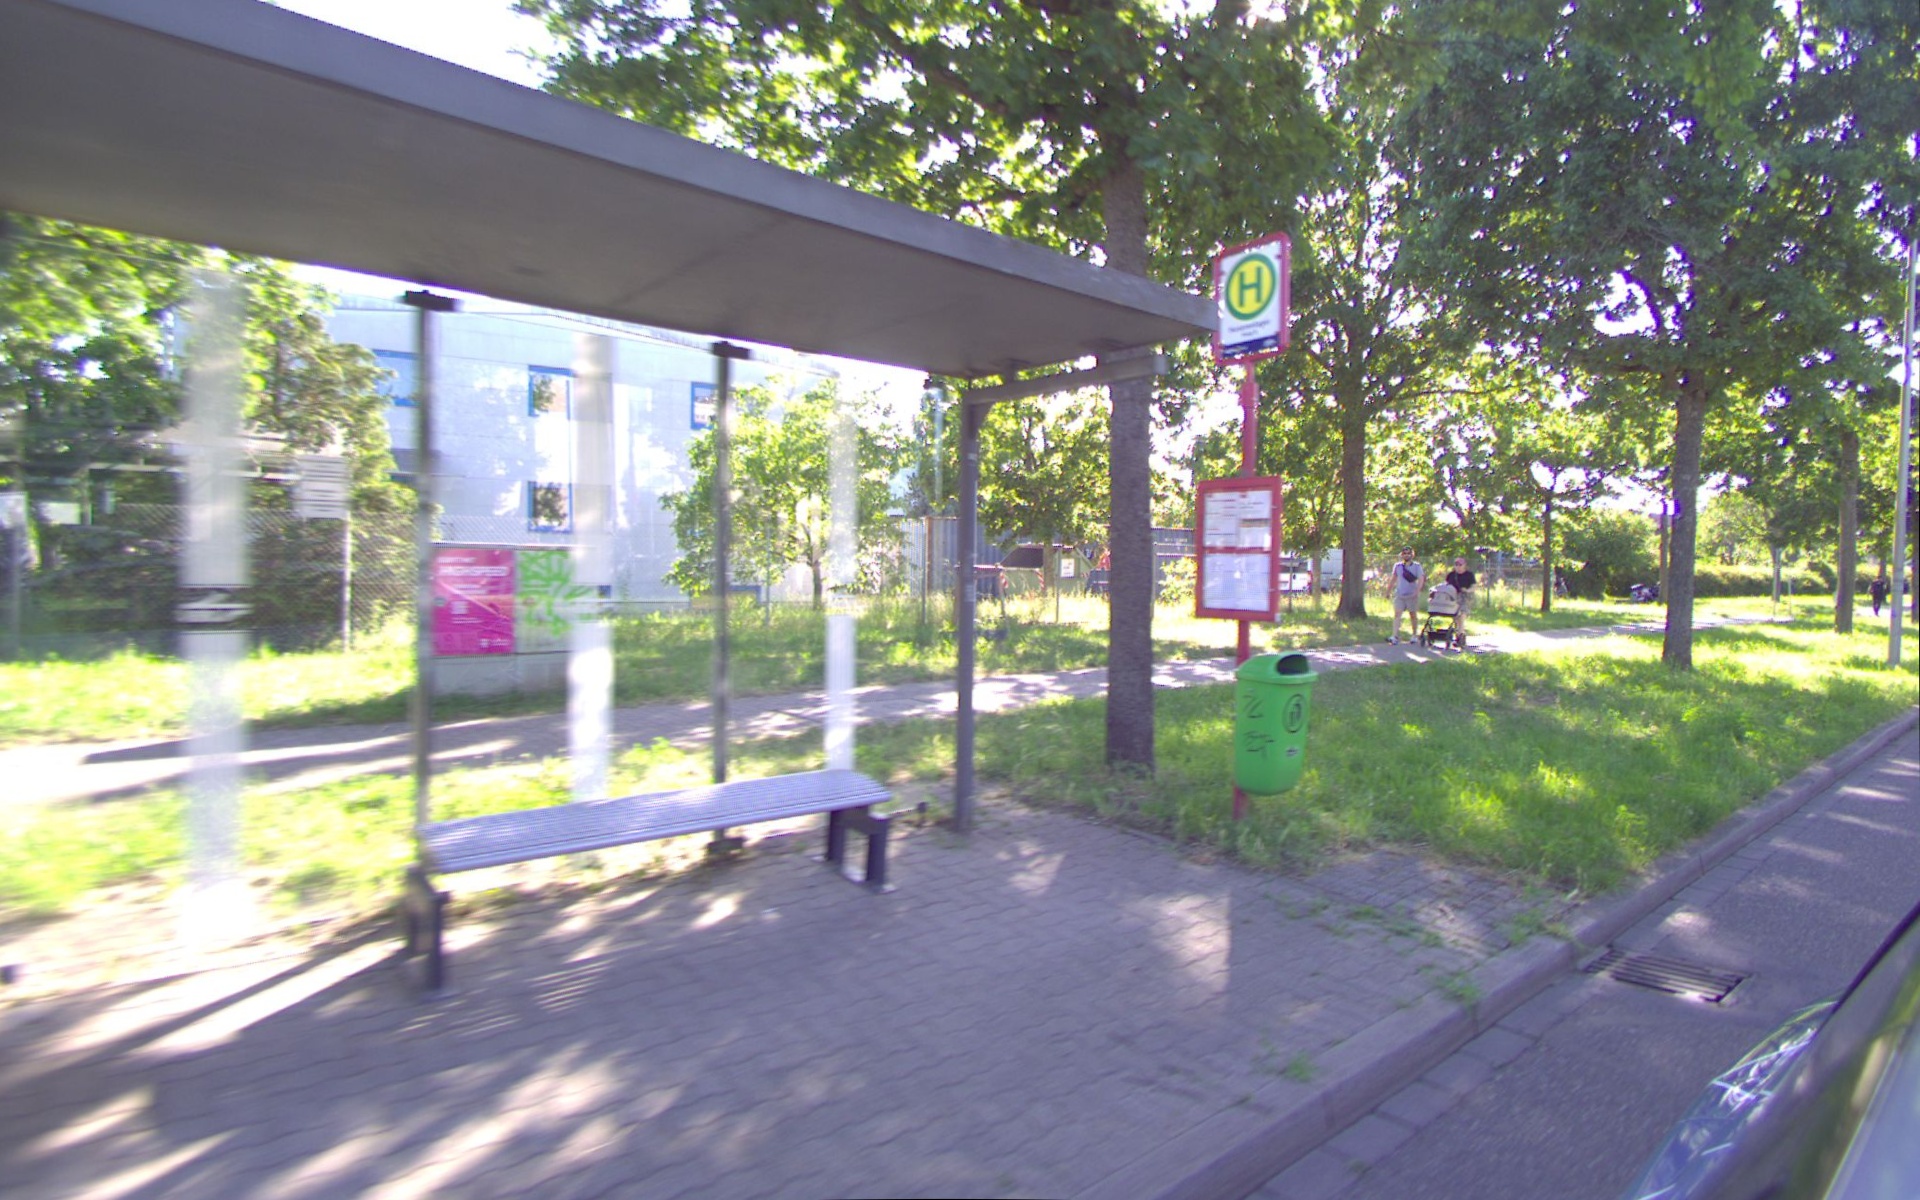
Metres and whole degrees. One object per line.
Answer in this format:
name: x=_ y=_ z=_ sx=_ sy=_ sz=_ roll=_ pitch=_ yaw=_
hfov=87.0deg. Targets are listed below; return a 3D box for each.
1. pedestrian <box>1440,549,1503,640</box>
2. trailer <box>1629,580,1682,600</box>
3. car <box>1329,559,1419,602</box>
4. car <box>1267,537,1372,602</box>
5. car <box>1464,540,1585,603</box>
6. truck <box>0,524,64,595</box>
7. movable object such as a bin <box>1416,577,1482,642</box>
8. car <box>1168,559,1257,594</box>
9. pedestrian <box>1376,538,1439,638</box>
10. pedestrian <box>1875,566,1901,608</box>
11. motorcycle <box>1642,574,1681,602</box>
pedestrian: x=9.393 y=-0.117 z=18.593 sx=0.852 sy=1.623 sz=0.727 roll=-1 pitch=2 yaw=-40
trailer: x=36.983 y=-0.544 z=53.836 sx=2.014 sy=0.878 sz=1.586 roll=-5 pitch=5 yaw=-27
car: x=17.120 y=-0.824 z=41.812 sx=3.533 sy=1.684 sz=2.010 roll=-1 pitch=3 yaw=-40
car: x=15.664 y=-1.337 z=44.031 sx=4.765 sy=2.675 sz=2.165 roll=-1 pitch=3 yaw=-40
car: x=26.588 y=-1.293 z=47.597 sx=5.849 sy=2.599 sz=2.094 roll=3 pitch=-1 yaw=-28
truck: x=-30.587 y=-1.247 z=31.841 sx=1.959 sy=2.138 sz=5.166 roll=-2 pitch=3 yaw=-23
movable object such as a bin: x=8.727 y=0.153 z=18.048 sx=0.852 sy=1.094 sz=0.727 roll=-1 pitch=4 yaw=-40
car: x=12.640 y=-1.174 z=50.732 sx=3.916 sy=1.660 sz=1.845 roll=0 pitch=2 yaw=-19
pedestrian: x=8.242 y=-0.235 z=18.628 sx=0.852 sy=1.777 sz=0.727 roll=0 pitch=2 yaw=-40
pedestrian: x=41.267 y=-0.597 z=45.001 sx=0.852 sy=1.834 sz=0.727 roll=-1 pitch=3 yaw=-40
motorcycle: x=36.034 y=-0.622 z=51.972 sx=2.359 sy=1.245 sz=0.666 roll=-5 pitch=4 yaw=-28
